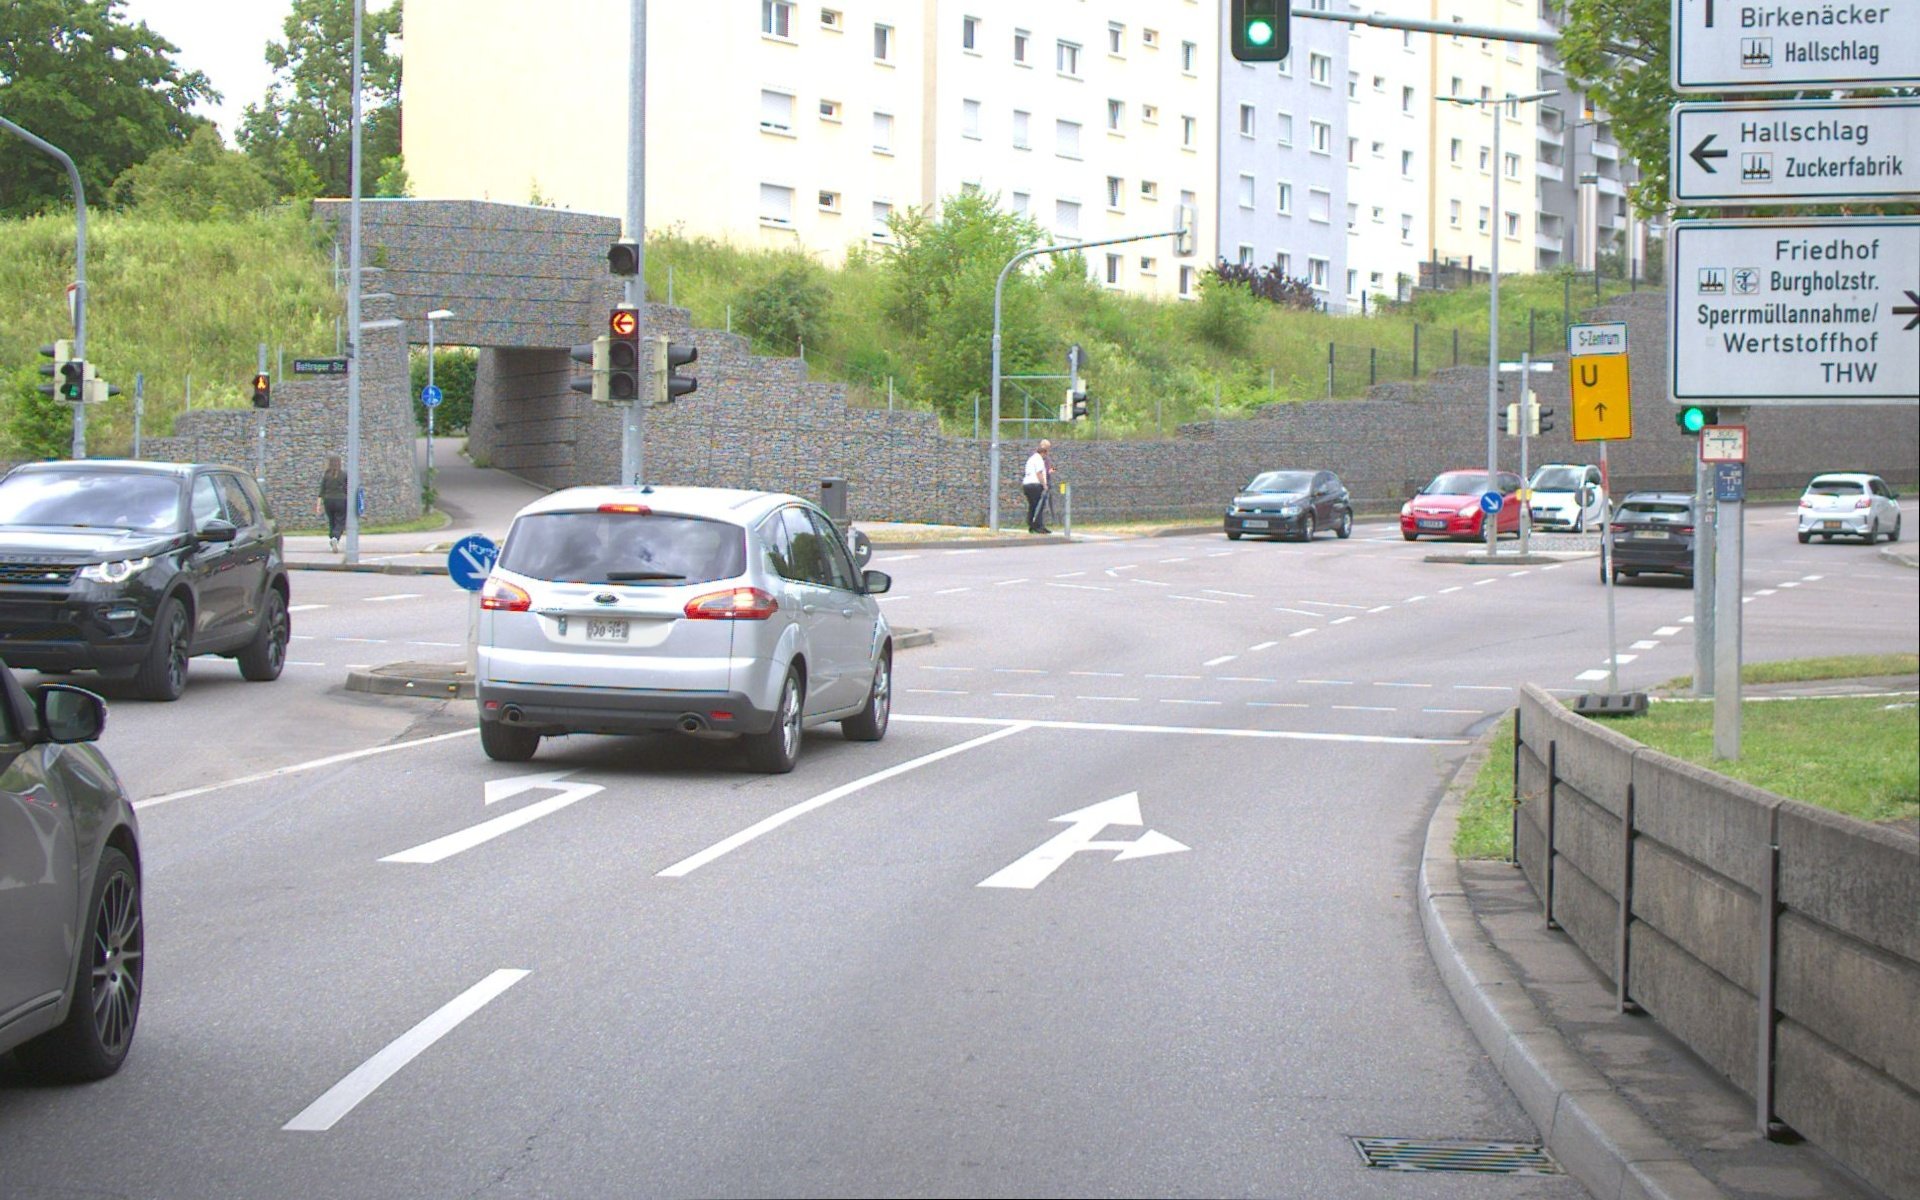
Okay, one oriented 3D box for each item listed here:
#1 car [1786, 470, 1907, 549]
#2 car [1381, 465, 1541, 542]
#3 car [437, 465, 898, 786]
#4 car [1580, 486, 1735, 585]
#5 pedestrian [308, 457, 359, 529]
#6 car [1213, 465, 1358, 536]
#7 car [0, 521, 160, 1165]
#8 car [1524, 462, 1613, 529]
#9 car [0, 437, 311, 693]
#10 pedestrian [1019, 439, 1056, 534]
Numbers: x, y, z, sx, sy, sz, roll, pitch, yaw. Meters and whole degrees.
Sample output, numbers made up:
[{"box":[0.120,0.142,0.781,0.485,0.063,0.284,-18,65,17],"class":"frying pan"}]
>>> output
[{"box":[19.080,-1.937,73.908,1.996,1.612,3.996,2,2,22],"class":"car"},{"box":[10.534,-2.029,72.152,1.845,1.449,3.993,6,4,31],"class":"car"},{"box":[-1.669,0.092,20.965,1.831,1.700,3.867,2,2,10],"class":"car"},{"box":[11.251,-1.035,55.274,1.901,1.461,3.996,3,2,18],"class":"car"},{"box":[-10.224,-1.745,56.114,0.745,1.111,0.476,4,3,-10],"class":"pedestrian"},{"box":[6.725,-2.039,70.651,1.858,1.356,3.996,2,2,22],"class":"car"},{"box":[-3.123,0.550,7.725,1.844,1.488,4.001,1,1,-2],"class":"car"},{"box":[13.797,-2.369,77.922,1.162,1.361,2.501,6,2,28],"class":"car"},{"box":[-6.263,-0.300,25.024,1.994,1.692,4.167,1,2,4],"class":"car"},{"box":[1.528,-2.243,67.854,0.604,1.856,0.597,2,2,-5],"class":"pedestrian"}]
